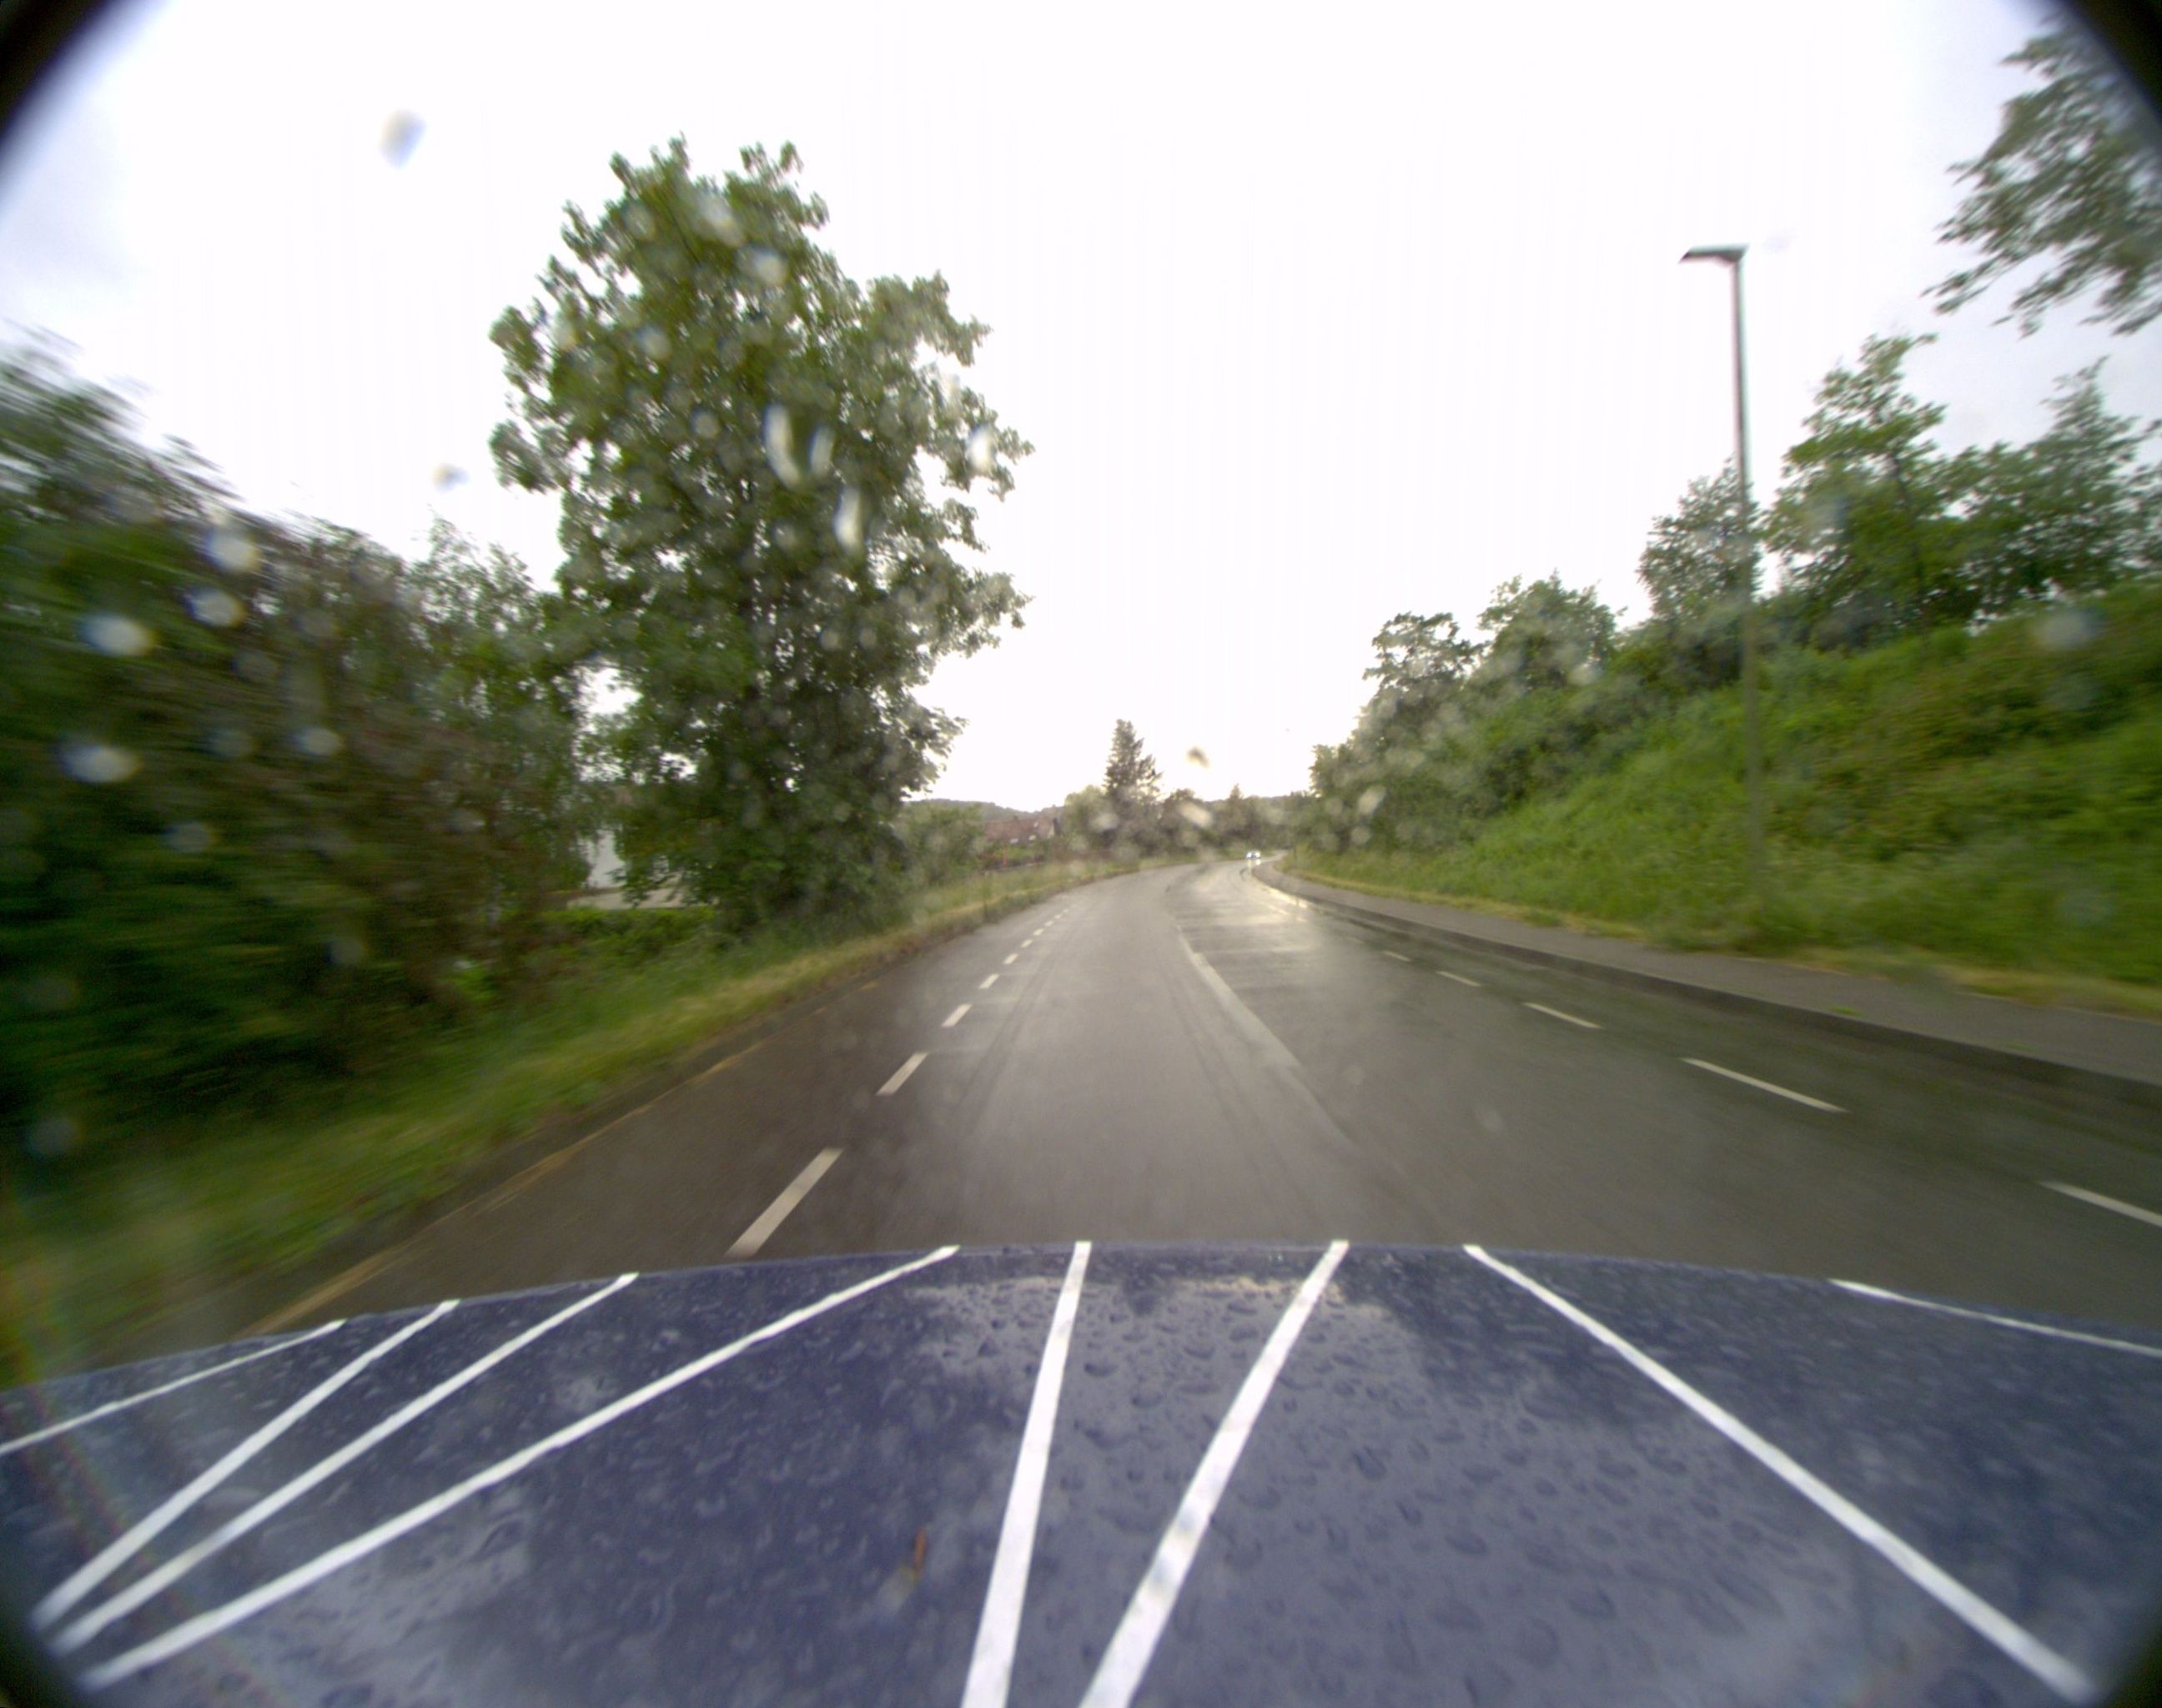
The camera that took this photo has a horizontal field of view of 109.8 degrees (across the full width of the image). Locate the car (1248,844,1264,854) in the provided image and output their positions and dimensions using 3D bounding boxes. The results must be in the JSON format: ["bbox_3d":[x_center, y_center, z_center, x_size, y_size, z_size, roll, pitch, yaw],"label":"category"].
[{"bbox_3d":[27.434,-0.823,119.297,1.876,1.596,4.006,-1,1,21],"label":"car"}]
